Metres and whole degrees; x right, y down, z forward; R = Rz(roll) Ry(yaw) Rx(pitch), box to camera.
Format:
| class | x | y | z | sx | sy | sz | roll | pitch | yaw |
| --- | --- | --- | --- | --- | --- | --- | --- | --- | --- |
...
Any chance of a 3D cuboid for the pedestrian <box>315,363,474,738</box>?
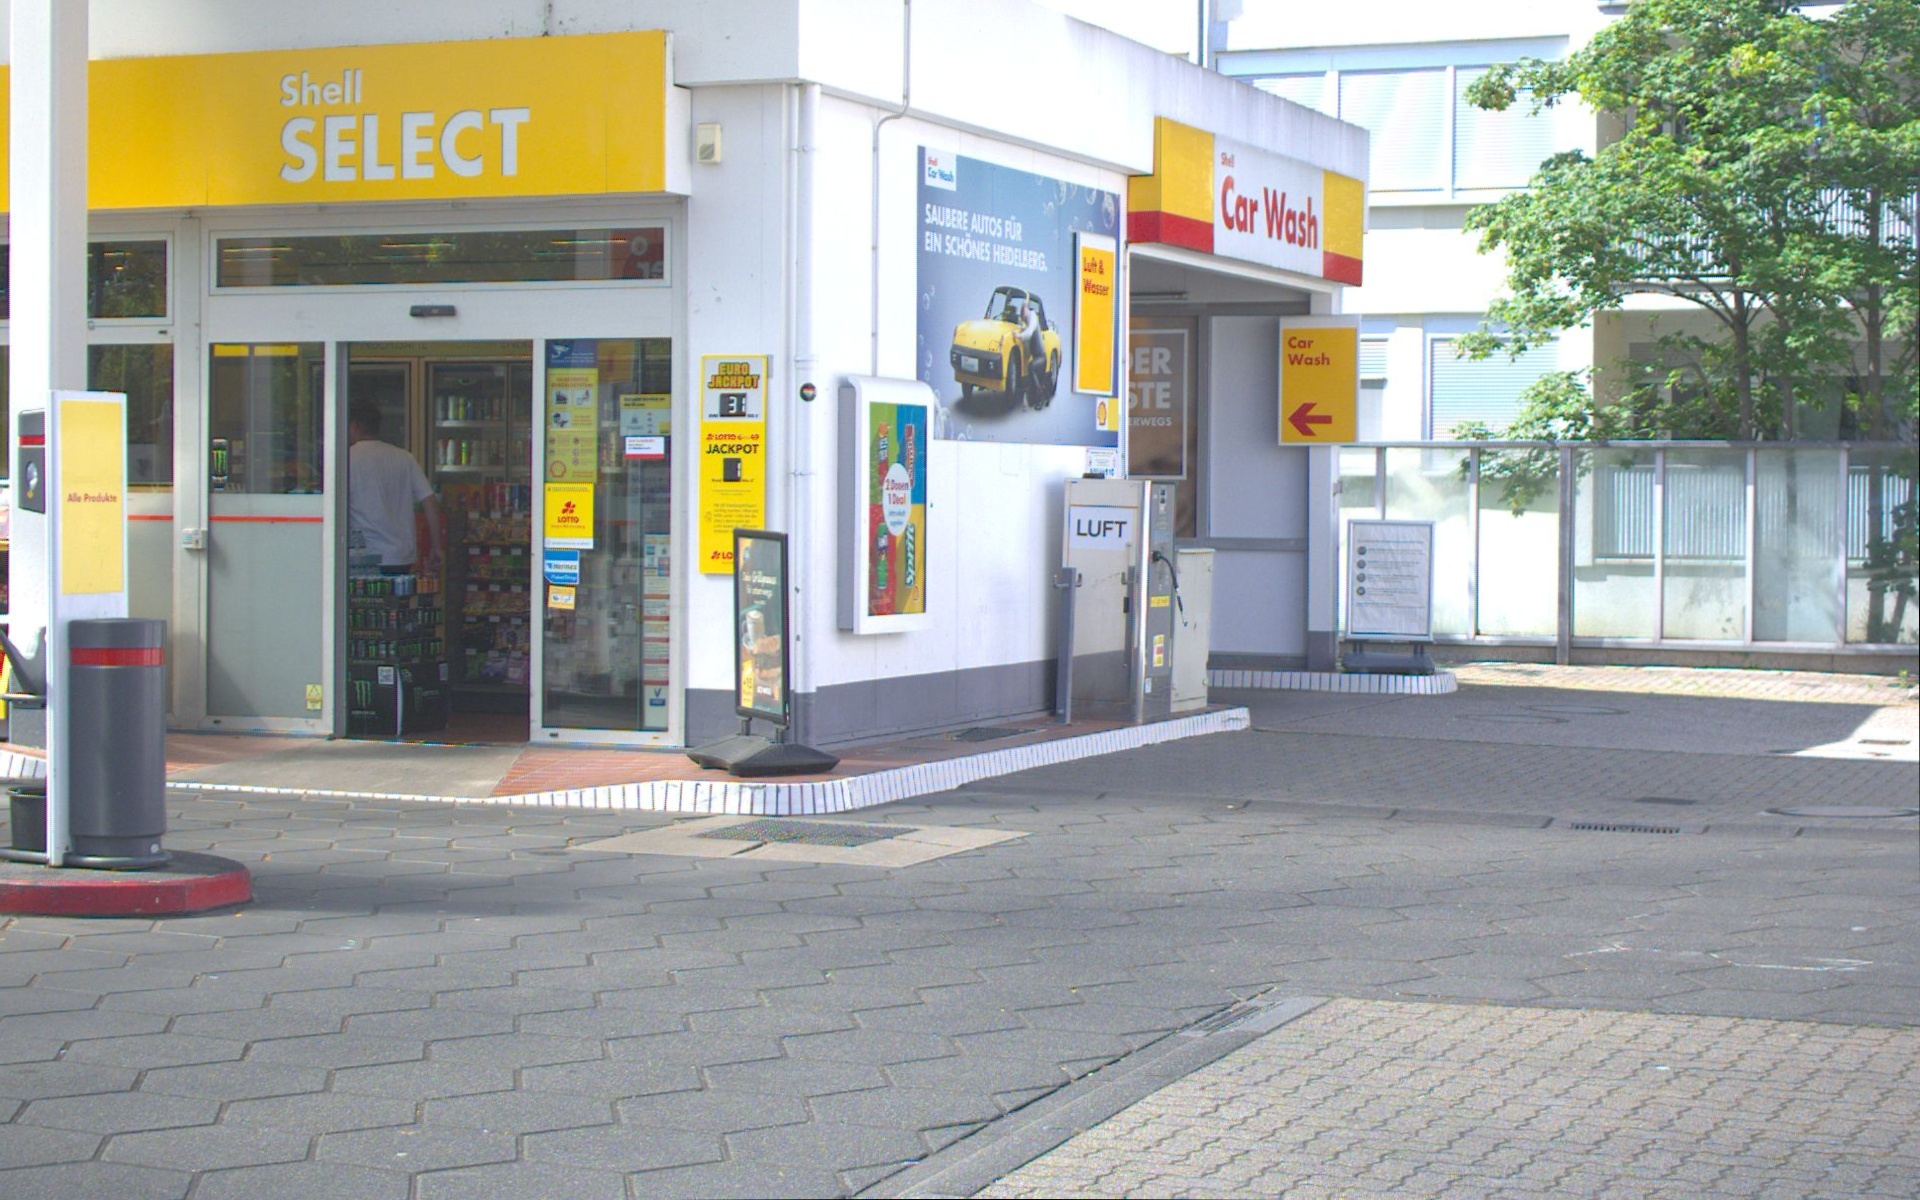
| class | x | y | z | sx | sy | sz | roll | pitch | yaw |
| --- | --- | --- | --- | --- | --- | --- | --- | --- | --- |
| pedestrian | -3.095 | -0.280 | 18.853 | 0.622 | 2.006 | 0.742 | 1 | 2 | 14 |
